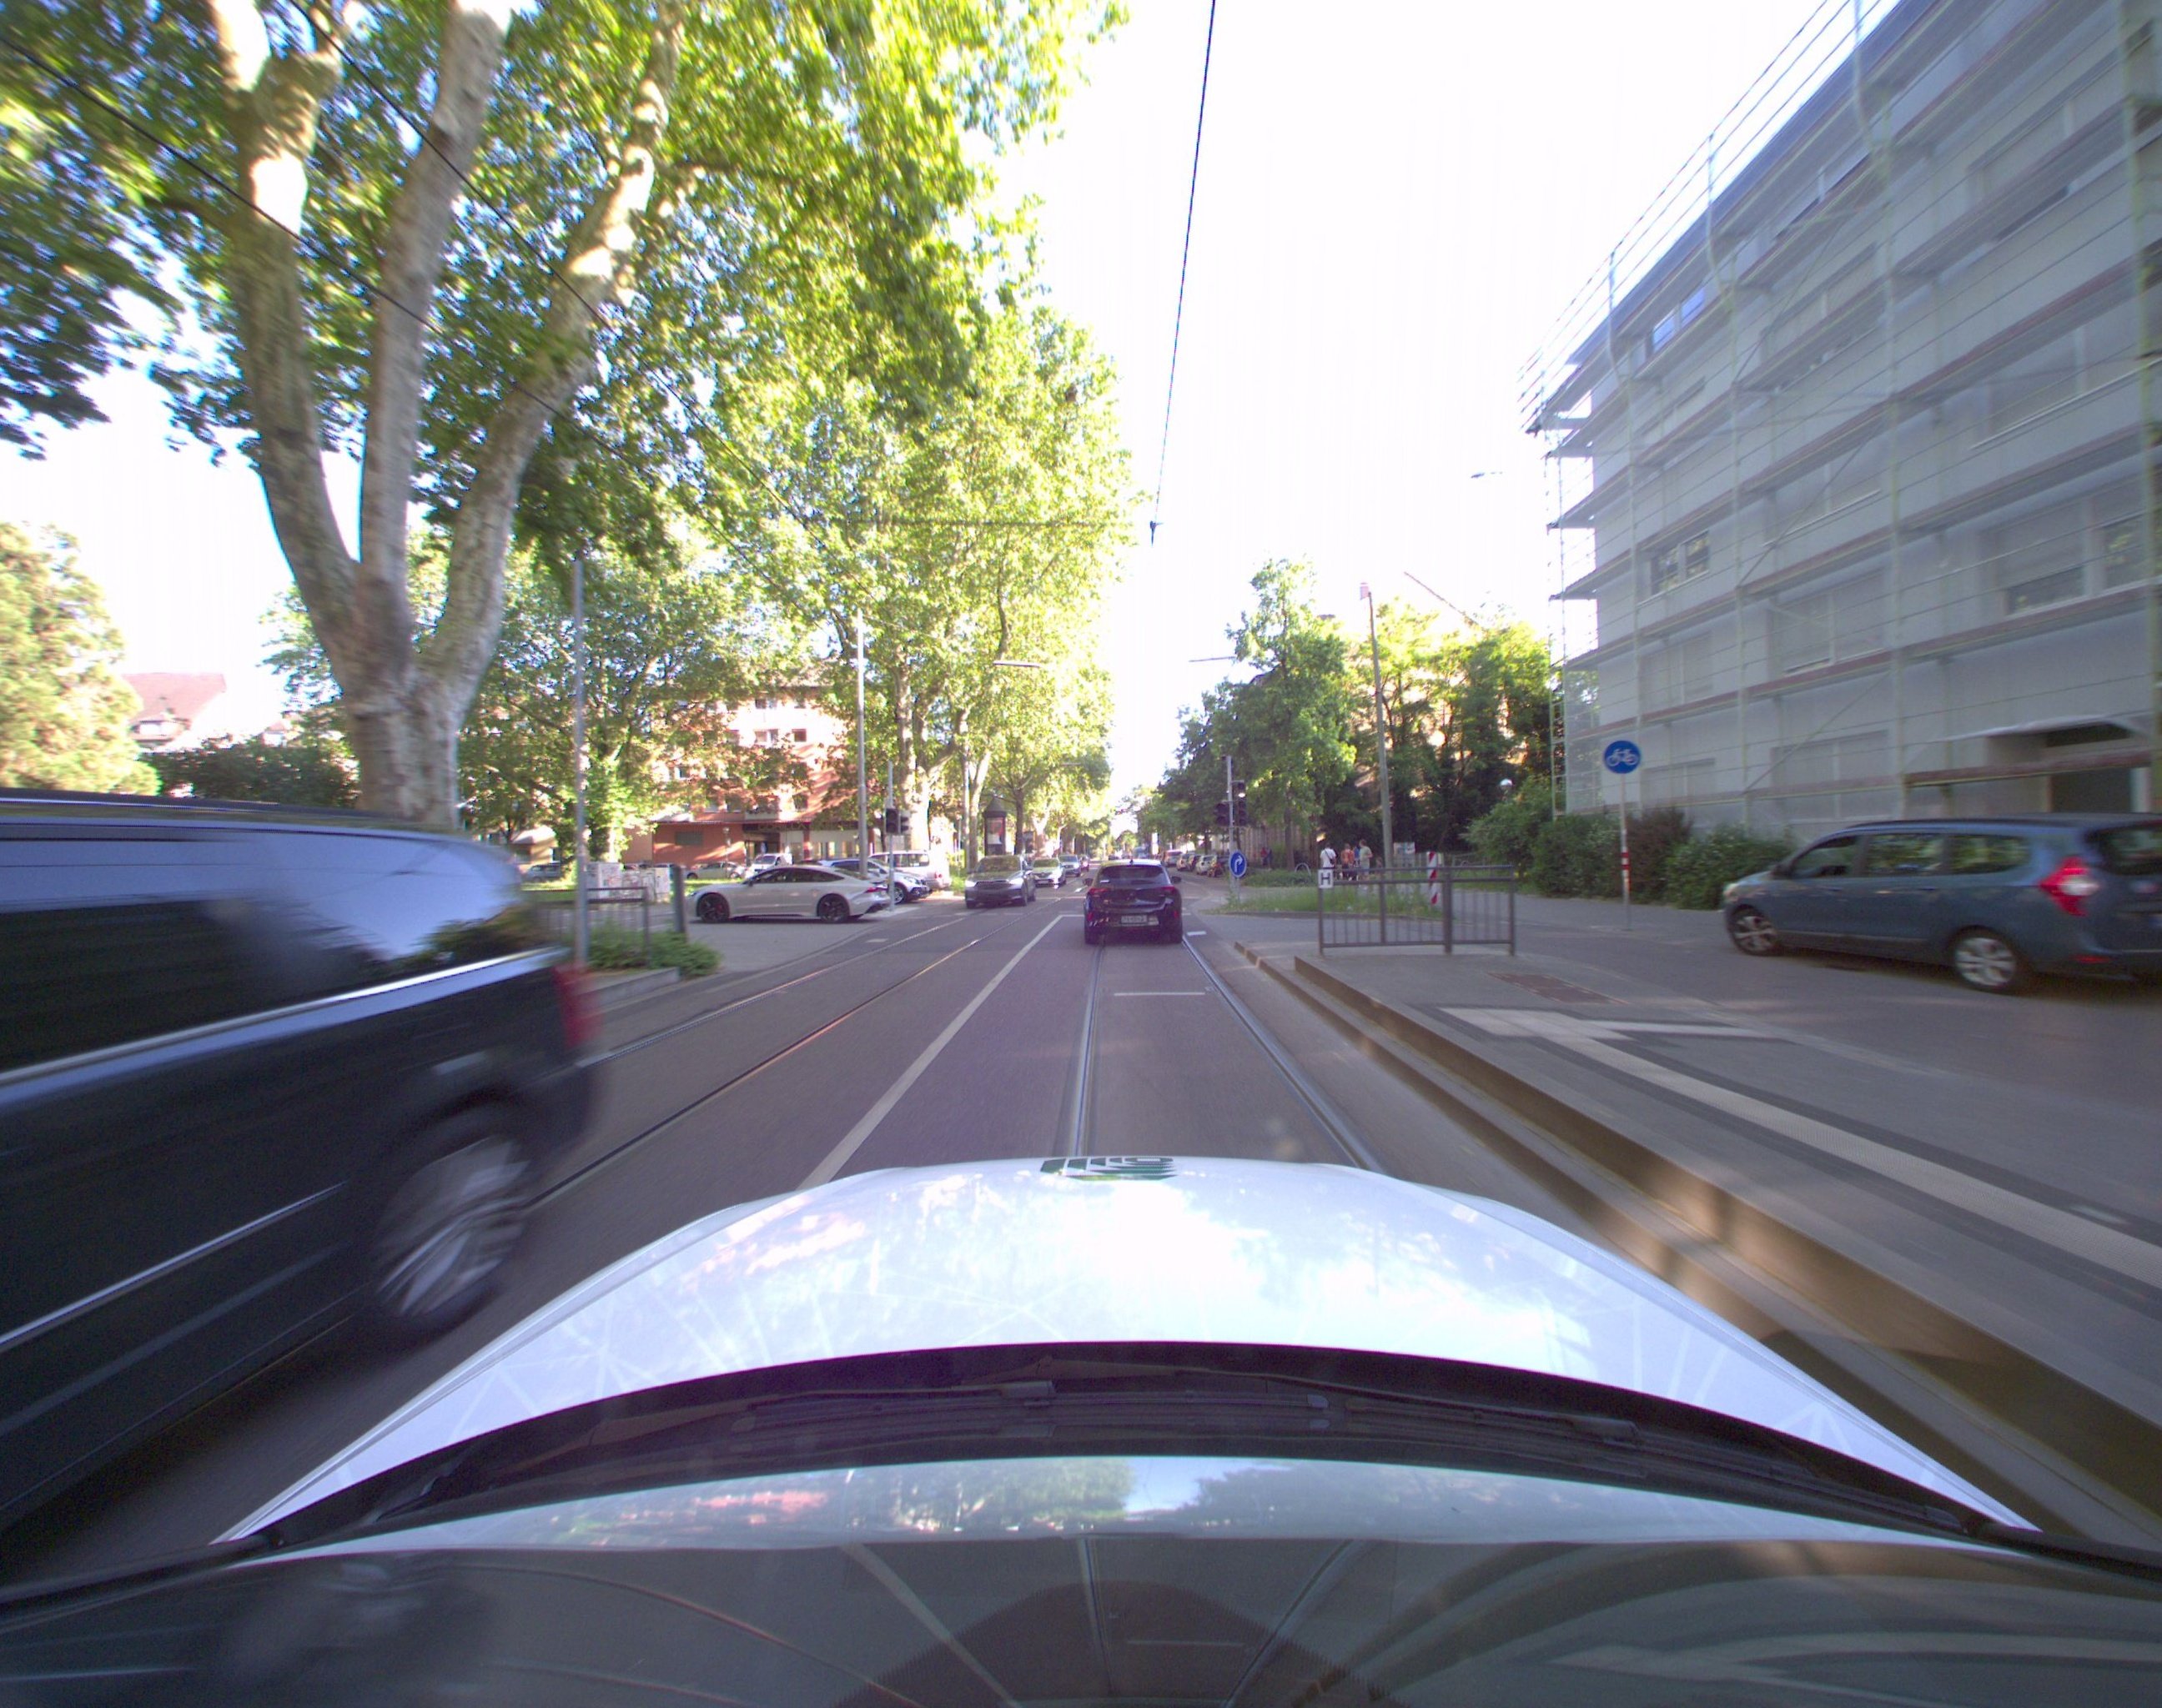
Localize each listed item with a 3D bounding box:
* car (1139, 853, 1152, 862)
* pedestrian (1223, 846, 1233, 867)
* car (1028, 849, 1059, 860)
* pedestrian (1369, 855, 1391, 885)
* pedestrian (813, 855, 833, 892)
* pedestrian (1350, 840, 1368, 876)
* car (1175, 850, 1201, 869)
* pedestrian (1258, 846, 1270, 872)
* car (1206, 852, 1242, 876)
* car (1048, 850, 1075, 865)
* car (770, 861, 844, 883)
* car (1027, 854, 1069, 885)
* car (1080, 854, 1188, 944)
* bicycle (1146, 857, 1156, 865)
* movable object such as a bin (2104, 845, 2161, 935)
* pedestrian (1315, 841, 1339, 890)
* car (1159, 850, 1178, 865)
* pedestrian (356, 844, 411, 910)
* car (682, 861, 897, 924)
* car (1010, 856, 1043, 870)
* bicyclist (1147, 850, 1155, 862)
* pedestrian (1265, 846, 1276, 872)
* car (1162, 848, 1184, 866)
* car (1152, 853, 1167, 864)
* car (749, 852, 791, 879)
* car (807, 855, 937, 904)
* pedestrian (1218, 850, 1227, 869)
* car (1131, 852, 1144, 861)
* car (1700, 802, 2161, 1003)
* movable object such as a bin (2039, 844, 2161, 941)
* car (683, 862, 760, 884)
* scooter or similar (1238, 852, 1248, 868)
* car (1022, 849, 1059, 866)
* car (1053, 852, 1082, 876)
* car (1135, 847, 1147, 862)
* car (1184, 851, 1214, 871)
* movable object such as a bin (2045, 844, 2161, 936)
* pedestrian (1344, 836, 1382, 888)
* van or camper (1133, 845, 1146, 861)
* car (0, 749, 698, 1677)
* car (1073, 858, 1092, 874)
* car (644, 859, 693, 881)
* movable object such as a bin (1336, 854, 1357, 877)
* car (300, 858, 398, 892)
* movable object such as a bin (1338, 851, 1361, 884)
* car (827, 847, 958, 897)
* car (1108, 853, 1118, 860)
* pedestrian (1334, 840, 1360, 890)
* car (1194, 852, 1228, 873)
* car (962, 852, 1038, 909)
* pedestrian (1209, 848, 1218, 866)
[{"bbox_3d":[11.044,0.655,139.906,1.877,1.434,4.531,-4,0,1],"label":"car"},{"bbox_3d":[12.785,0.183,70.679,0.724,1.793,0.600,0,-1,-3],"label":"pedestrian"},{"bbox_3d":[-5.282,0.069,114.460,4.287,1.607,1.925,-1,0,-1],"label":"car"},{"bbox_3d":[11.014,0.590,30.018,0.669,1.118,0.662,-1,-1,12],"label":"pedestrian"},{"bbox_3d":[-12.577,0.935,39.723,0.640,1.809,0.753,0,-1,7],"label":"pedestrian"},{"bbox_3d":[13.427,0.174,39.284,0.618,1.725,0.551,0,-1,-14],"label":"pedestrian"},{"bbox_3d":[9.785,0.483,74.531,1.877,1.568,4.243,-4,0,1],"label":"car"},{"bbox_3d":[12.818,0.348,57.029,0.719,1.793,0.604,-1,-1,29],"label":"pedestrian"},{"bbox_3d":[9.413,0.651,53.922,1.667,1.412,3.842,-4,0,0],"label":"car"},{"bbox_3d":[-3.736,0.688,156.968,5.017,2.374,2.082,-5,-1,1],"label":"car"},{"bbox_3d":[-18.988,1.250,56.631,4.519,1.489,1.857,0,0,-5],"label":"car"},{"bbox_3d":[-1.617,0.765,41.336,1.768,1.461,4.206,0,0,2],"label":"car"},{"bbox_3d":[0.935,0.749,15.301,1.757,1.460,3.952,0,0,2],"label":"car"},{"bbox_3d":[8.822,0.882,102.634,0.964,0.999,2.583,0,0,0],"label":"bicycle"},{"bbox_3d":[14.065,0.449,10.484,0.878,1.110,0.697,-3,0,-1],"label":"movable object such as a bin"},{"bbox_3d":[9.189,0.432,30.475,0.721,1.793,0.856,-3,0,12],"label":"pedestrian"},{"bbox_3d":[10.643,0.460,99.258,1.879,1.766,4.679,-2,0,2],"label":"car"},{"bbox_3d":[-18.839,0.600,21.988,0.835,1.737,0.921,-1,-1,33],"label":"pedestrian"},{"bbox_3d":[-7.251,0.939,20.665,4.753,1.460,1.953,0,0,-3],"label":"car"},{"bbox_3d":[-5.955,0.976,88.814,3.405,1.465,1.761,0,0,3],"label":"car"},{"bbox_3d":[8.814,0.295,102.619,0.955,1.499,1.094,0,0,0],"label":"bicyclist"},{"bbox_3d":[13.111,0.321,56.270,0.597,1.793,0.728,0,-1,-1],"label":"pedestrian"},{"bbox_3d":[10.172,0.361,90.070,1.877,1.851,4.969,-4,0,1],"label":"car"},{"bbox_3d":[10.906,0.608,113.774,1.696,1.423,3.979,-5,0,1],"label":"car"},{"bbox_3d":[-24.166,0.864,63.426,1.992,2.003,4.907,0,0,-7],"label":"car"},{"bbox_3d":[-7.350,0.879,28.944,4.126,1.646,1.902,0,0,0],"label":"car"},{"bbox_3d":[13.027,0.503,74.814,0.723,1.709,0.857,0,-1,4],"label":"pedestrian"},{"bbox_3d":[11.842,0.484,171.081,2.246,1.840,5.532,-2,0,1],"label":"car"},{"bbox_3d":[9.302,0.360,8.941,1.755,1.621,4.445,-3,0,3],"label":"car"},{"bbox_3d":[12.687,0.457,10.042,0.878,1.110,0.697,-3,0,-1],"label":"movable object such as a bin"},{"bbox_3d":[-24.628,1.310,55.937,4.463,1.450,1.820,0,0,-7],"label":"car"},{"bbox_3d":[13.247,0.472,66.581,0.573,1.246,1.336,0,0,3],"label":"scooter or similar"},{"bbox_3d":[-5.511,0.492,111.196,5.020,2.259,2.084,0,0,-2],"label":"car"},{"bbox_3d":[-0.910,0.706,57.385,1.809,1.568,4.118,-3,0,2],"label":"car"},{"bbox_3d":[11.566,0.084,157.319,2.077,2.772,4.699,-2,0,1],"label":"car"},{"bbox_3d":[10.054,0.593,69.751,1.877,1.467,4.594,-4,0,1],"label":"car"},{"bbox_3d":[13.319,0.454,10.518,0.878,1.110,0.697,-3,0,-1],"label":"movable object such as a bin"},{"bbox_3d":[10.263,0.290,29.682,0.869,1.885,0.992,0,-1,-16],"label":"pedestrian"},{"bbox_3d":[11.720,-0.163,163.886,2.246,3.216,5.532,-2,0,1],"label":"van or camper"},{"bbox_3d":[-2.994,0.670,1.542,1.986,1.716,5.144,0,0,1],"label":"car"},{"bbox_3d":[0.154,1.052,75.158,1.654,1.444,3.475,0,0,2],"label":"car"},{"bbox_3d":[-32.303,1.211,63.949,1.942,1.618,4.475,0,0,-6],"label":"car"},{"bbox_3d":[13.147,0.582,40.380,0.664,1.126,0.955,0,0,-6],"label":"movable object such as a bin"},{"bbox_3d":[-49.814,1.418,55.479,4.717,2.197,2.042,0,0,-2],"label":"car"},{"bbox_3d":[10.385,0.510,31.520,0.634,1.202,1.309,-3,0,12],"label":"movable object such as a bin"},{"bbox_3d":[-7.188,0.685,31.385,4.556,1.834,1.938,0,0,0],"label":"car"},{"bbox_3d":[8.995,0.787,229.967,2.247,1.840,5.528,-2,0,-1],"label":"car"},{"bbox_3d":[9.980,0.397,30.570,0.721,1.793,0.971,-3,0,12],"label":"pedestrian"},{"bbox_3d":[9.563,0.632,60.302,1.877,1.368,4.108,-4,0,1],"label":"car"},{"bbox_3d":[-2.509,0.801,26.349,1.902,1.638,4.321,-2,0,1],"label":"car"},{"bbox_3d":[12.166,0.284,74.820,0.722,1.693,0.958,0,-1,5],"label":"pedestrian"}]
